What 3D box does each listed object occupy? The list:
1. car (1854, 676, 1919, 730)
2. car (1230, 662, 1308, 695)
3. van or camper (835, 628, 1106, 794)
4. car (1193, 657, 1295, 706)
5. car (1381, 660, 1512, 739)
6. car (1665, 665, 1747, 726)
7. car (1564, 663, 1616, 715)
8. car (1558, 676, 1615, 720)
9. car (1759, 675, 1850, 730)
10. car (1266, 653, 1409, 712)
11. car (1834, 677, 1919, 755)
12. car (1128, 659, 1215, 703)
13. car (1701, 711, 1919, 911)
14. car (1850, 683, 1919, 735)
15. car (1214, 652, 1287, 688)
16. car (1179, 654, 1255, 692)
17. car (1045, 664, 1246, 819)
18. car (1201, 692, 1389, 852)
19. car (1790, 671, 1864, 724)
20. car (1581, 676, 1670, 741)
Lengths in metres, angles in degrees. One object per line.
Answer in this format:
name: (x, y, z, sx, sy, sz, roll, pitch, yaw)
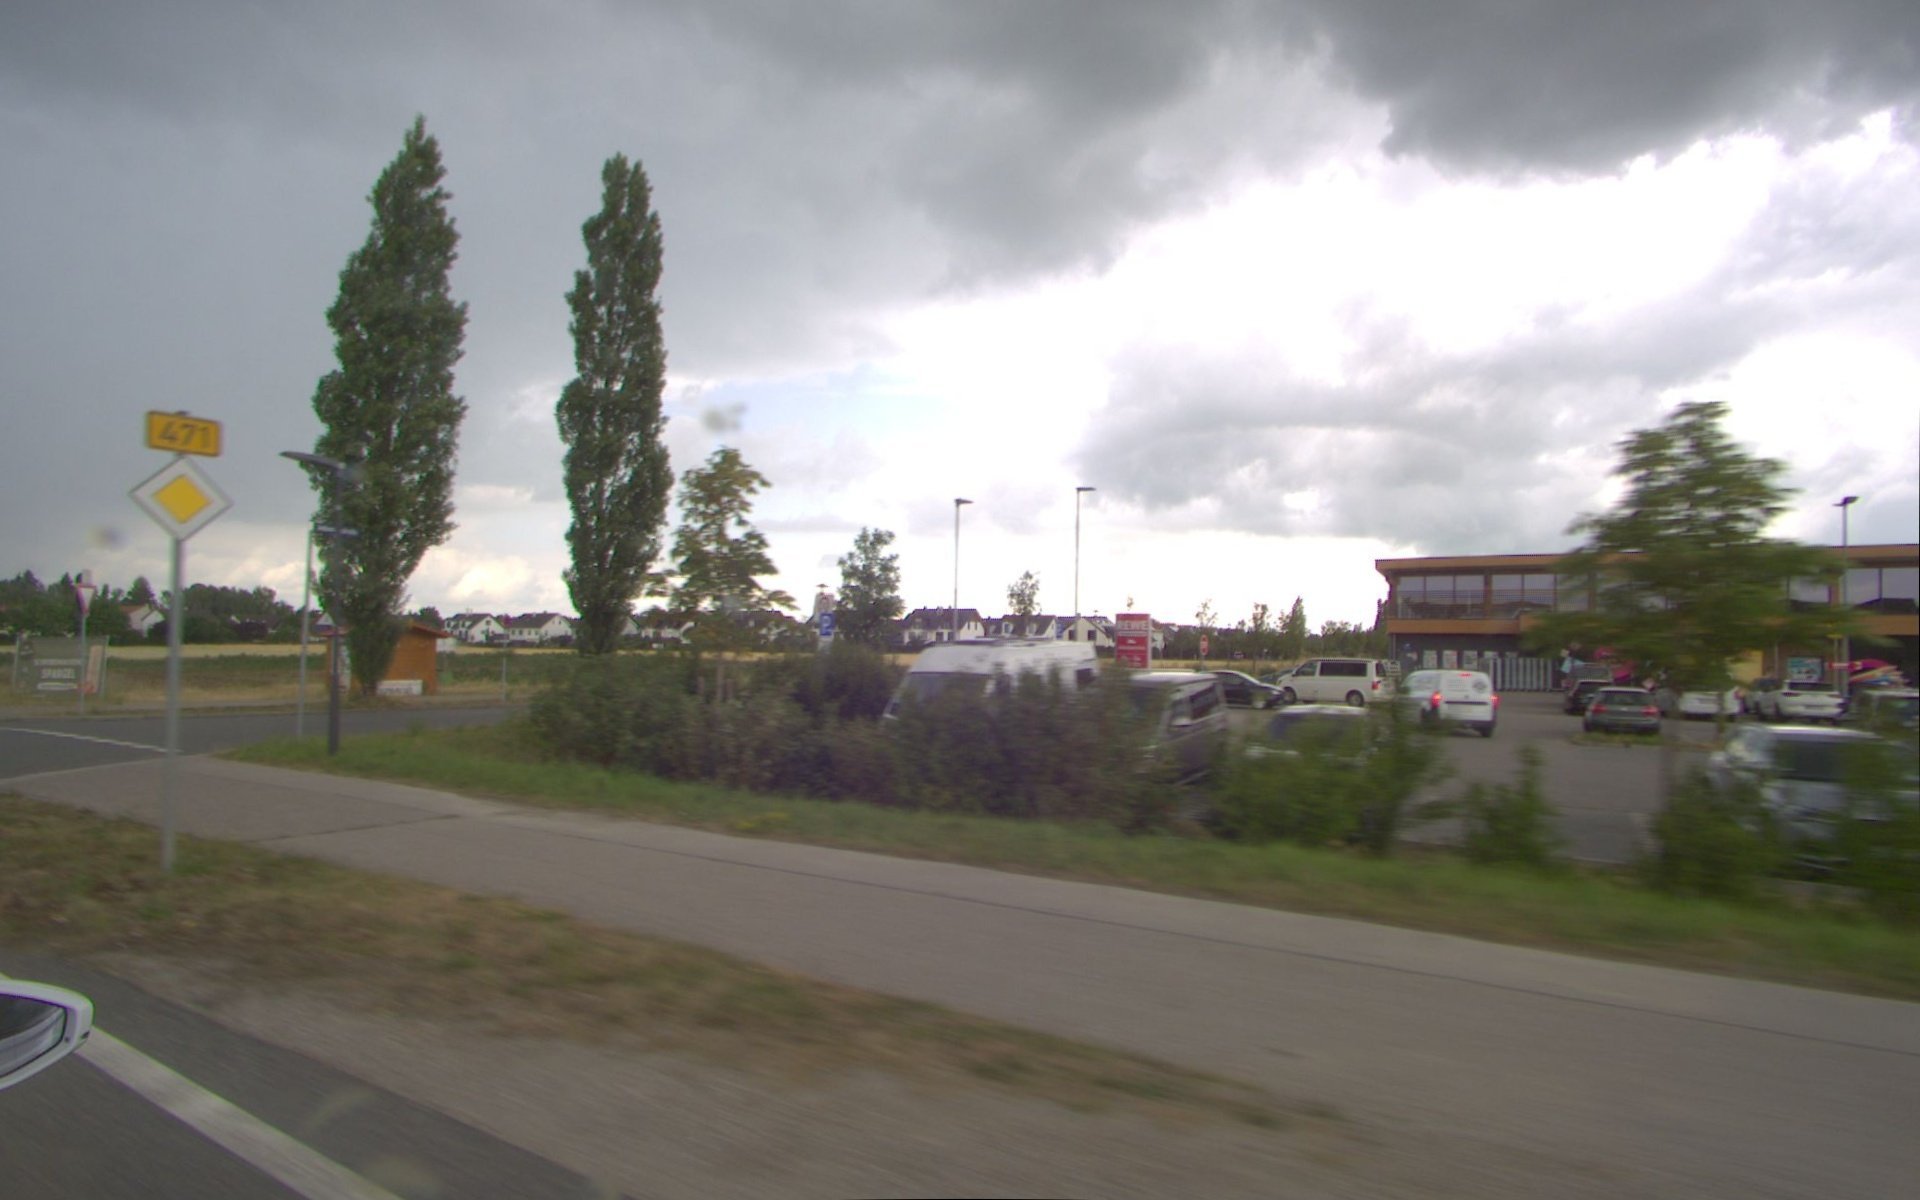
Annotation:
car: (36.323, 3.954, 38.982, 1.920, 1.772, 3.974, 0, -1, 37)
car: (16.000, 4.036, 51.832, 3.528, 1.527, 1.742, 0, -1, 33)
van or camper: (0.502, 1.795, 18.785, 2.247, 2.496, 6.459, 0, -1, 30)
car: (13.353, 3.774, 47.164, 4.227, 2.040, 1.989, 0, -1, 34)
car: (14.318, 2.877, 29.843, 2.069, 1.931, 4.942, 0, -1, 8)
car: (27.804, 3.507, 37.448, 2.009, 1.936, 3.888, 0, -1, 30)
car: (28.382, 3.956, 45.179, 1.824, 2.036, 4.212, 0, -1, 30)
car: (24.320, 3.770, 38.971, 1.748, 1.400, 3.457, 0, -1, 30)
car: (30.481, 3.637, 36.241, 2.010, 1.628, 3.730, 0, -1, 32)
car: (15.356, 3.303, 41.001, 1.978, 2.040, 5.190, 1, -1, -39)
car: (24.068, 2.935, 25.821, 1.974, 1.639, 3.974, 0, -1, 37)
car: (10.864, 4.108, 51.410, 3.943, 2.040, 1.990, 0, -1, 32)
car: (10.456, 2.358, 12.020, 2.049, 1.618, 4.141, 0, -1, 30)
car: (32.727, 3.780, 35.038, 1.768, 1.496, 3.730, 0, -1, 32)
car: (18.031, 4.317, 62.157, 3.943, 2.040, 1.990, 0, -1, 32)
car: (15.076, 4.250, 58.765, 3.943, 2.040, 1.990, 0, -1, 32)
car: (3.325, 2.231, 17.160, 1.970, 2.040, 4.587, 0, -1, 30)
car: (5.266, 2.409, 15.230, 1.732, 1.618, 5.089, 0, -1, 30)
car: (34.545, 3.819, 39.970, 1.920, 1.772, 3.974, 0, -1, 37)
car: (18.970, 3.026, 28.705, 1.874, 1.451, 4.172, 0, -1, 30)
